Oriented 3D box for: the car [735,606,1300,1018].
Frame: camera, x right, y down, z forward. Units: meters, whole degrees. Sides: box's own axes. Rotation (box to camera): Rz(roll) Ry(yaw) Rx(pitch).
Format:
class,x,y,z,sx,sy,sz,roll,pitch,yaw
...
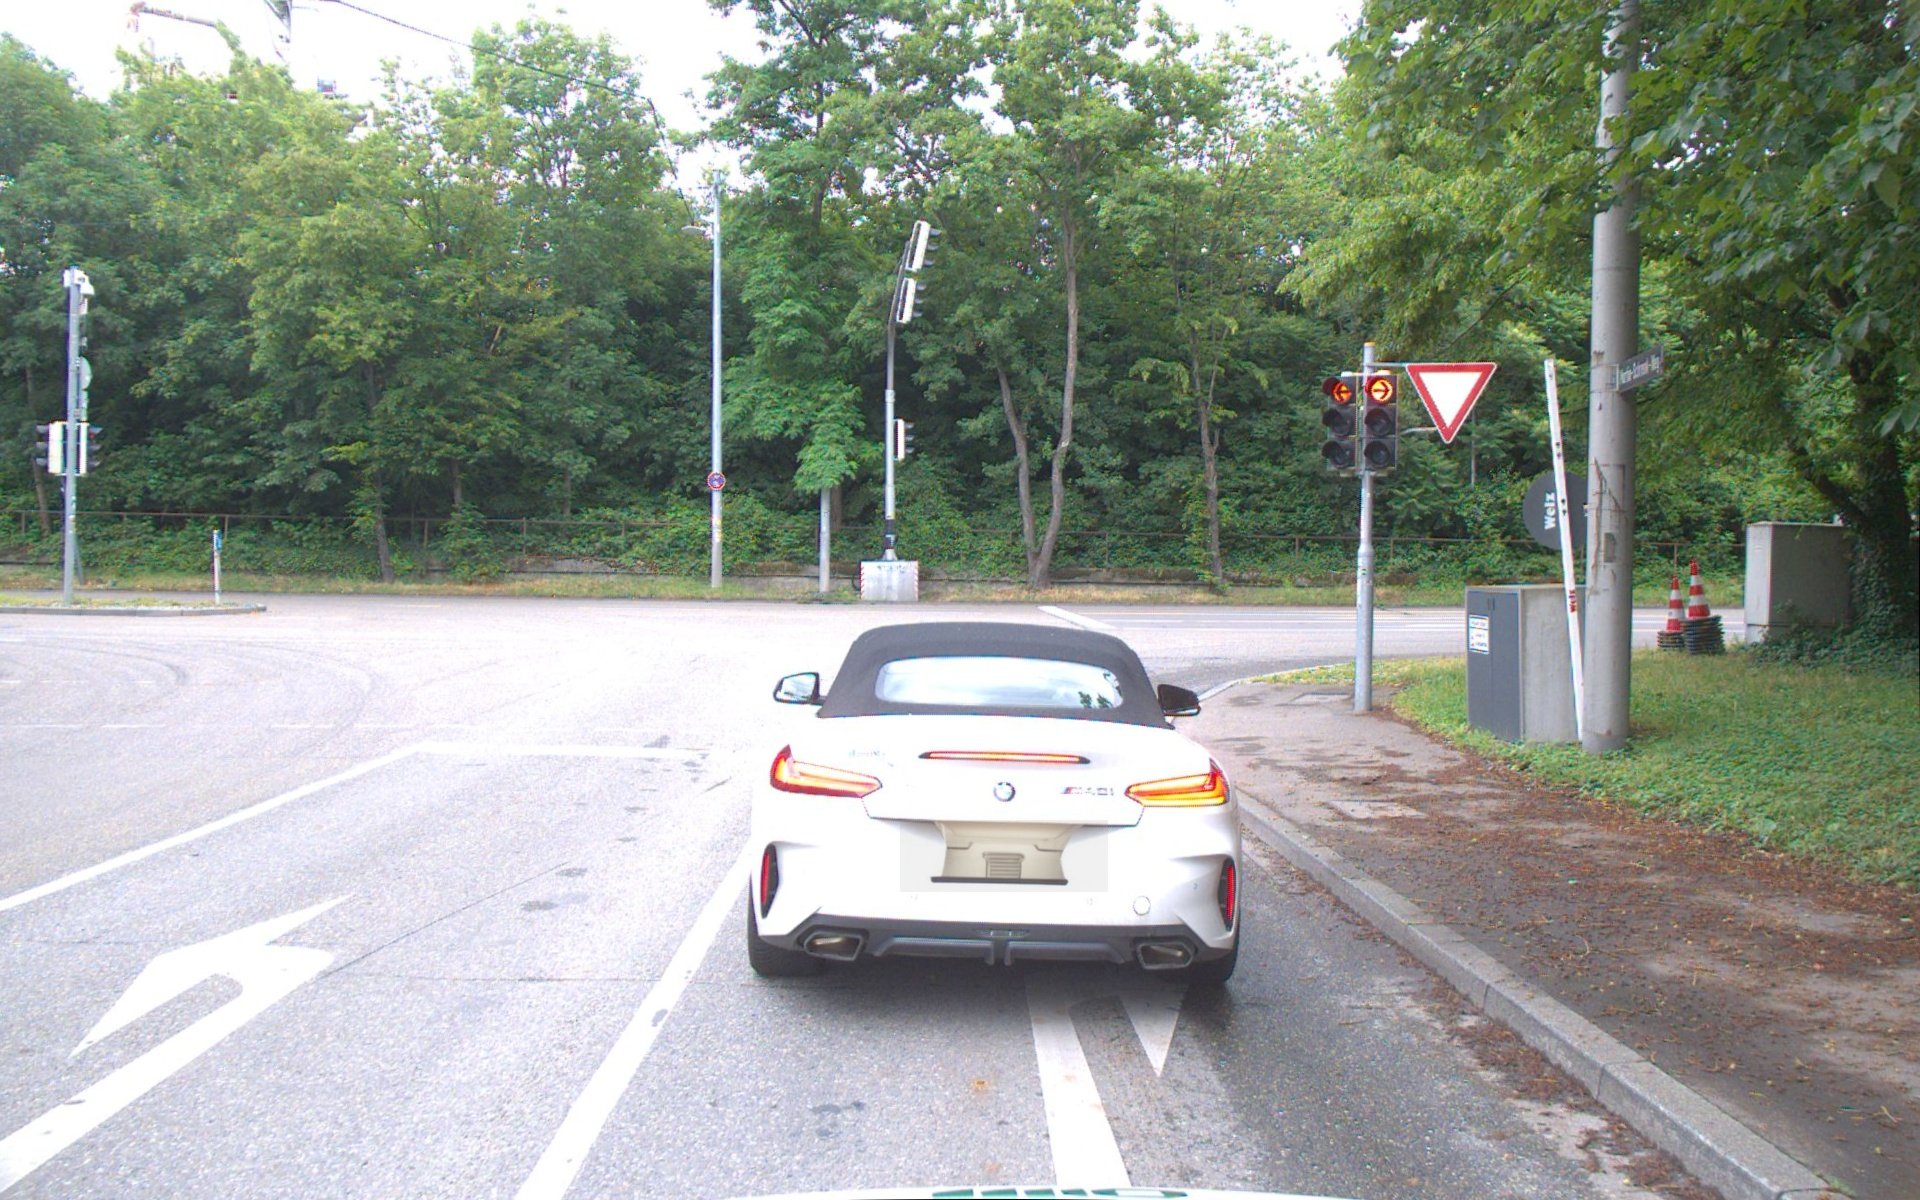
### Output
class,x,y,z,sx,sy,sz,roll,pitch,yaw
car,0.096,0.717,7.319,1.791,1.279,3.997,2,-1,-3
